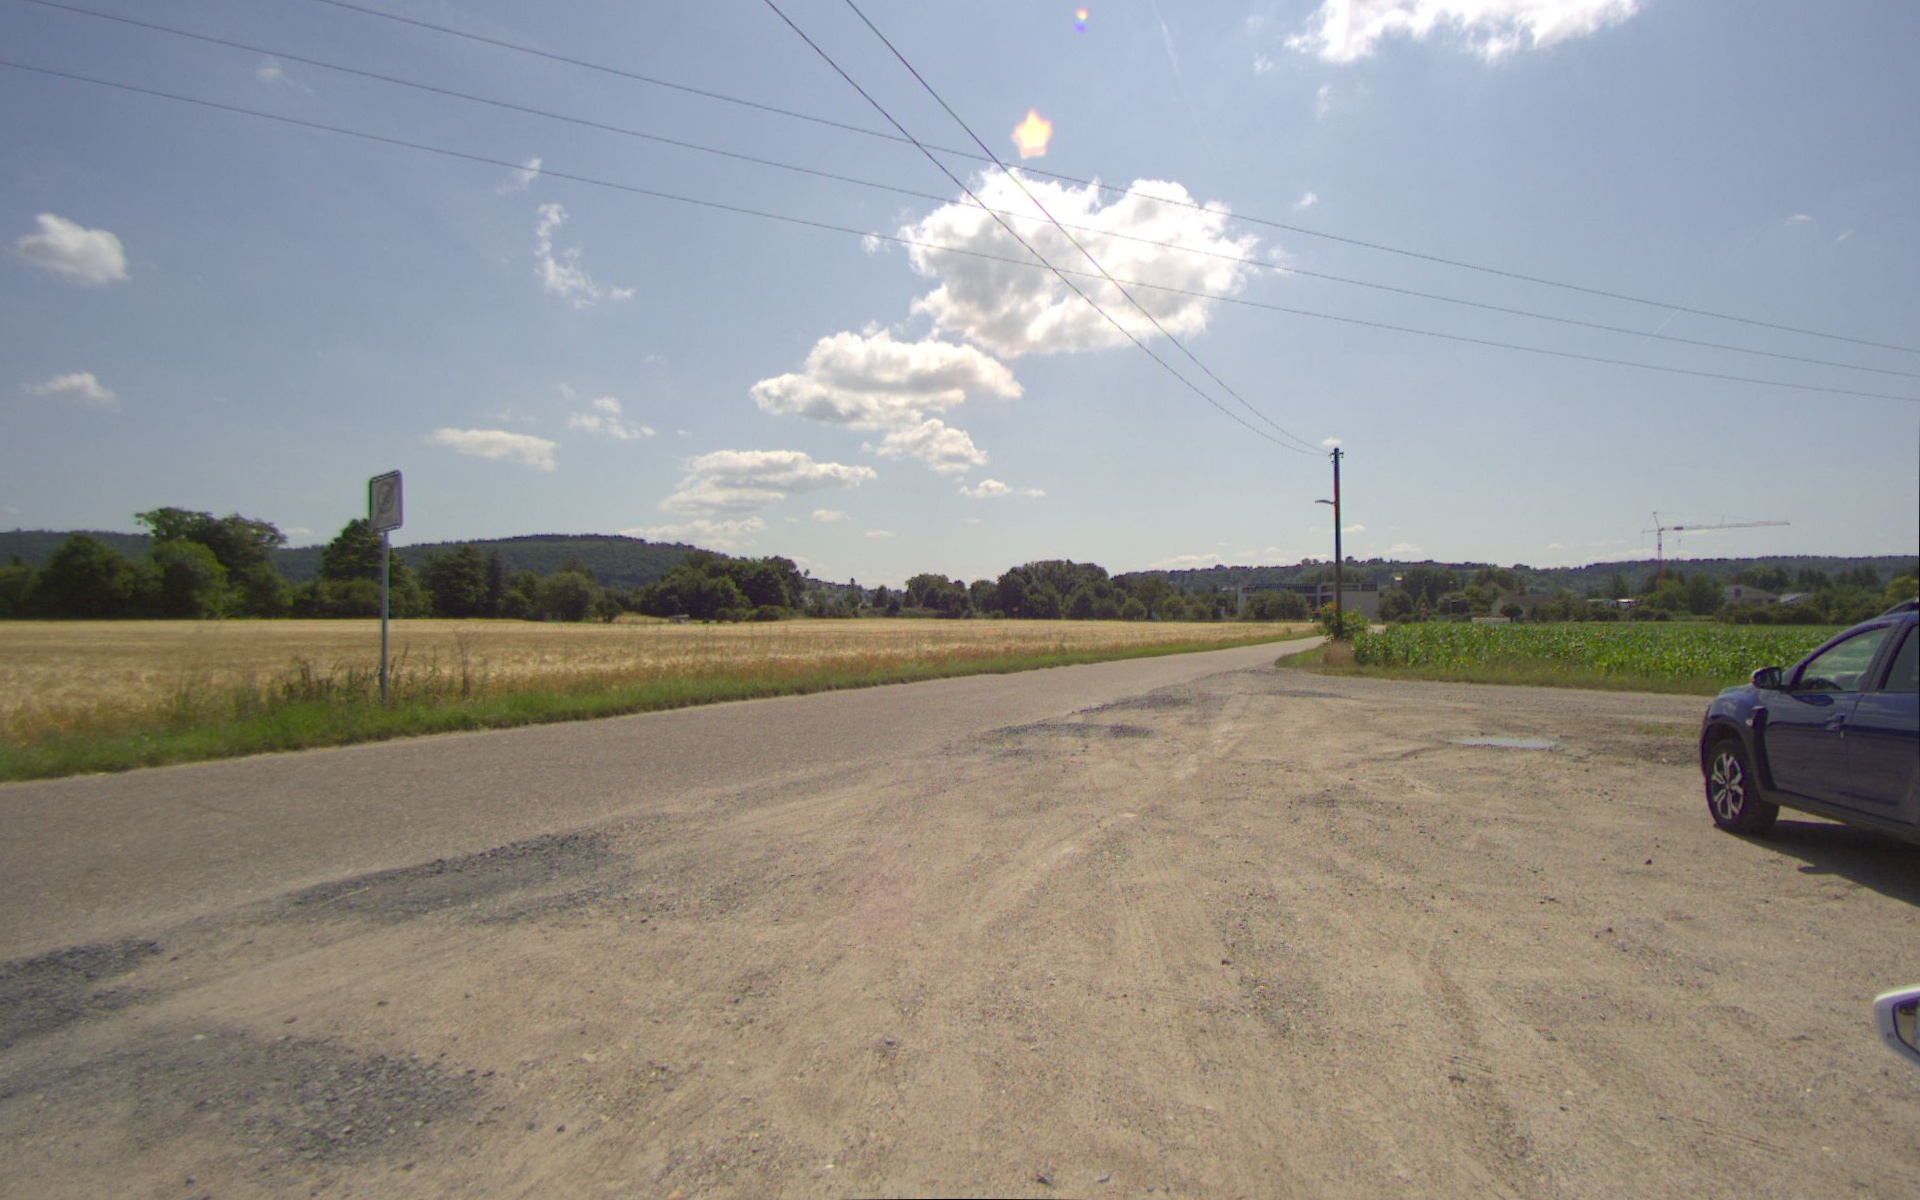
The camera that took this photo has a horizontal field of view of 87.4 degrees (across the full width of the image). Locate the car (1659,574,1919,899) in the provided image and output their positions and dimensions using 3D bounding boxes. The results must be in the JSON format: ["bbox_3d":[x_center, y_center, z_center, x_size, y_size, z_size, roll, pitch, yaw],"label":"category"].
[{"bbox_3d":[6.104,0.745,5.917,1.827,1.683,4.461,1,-1,15],"label":"car"}]
